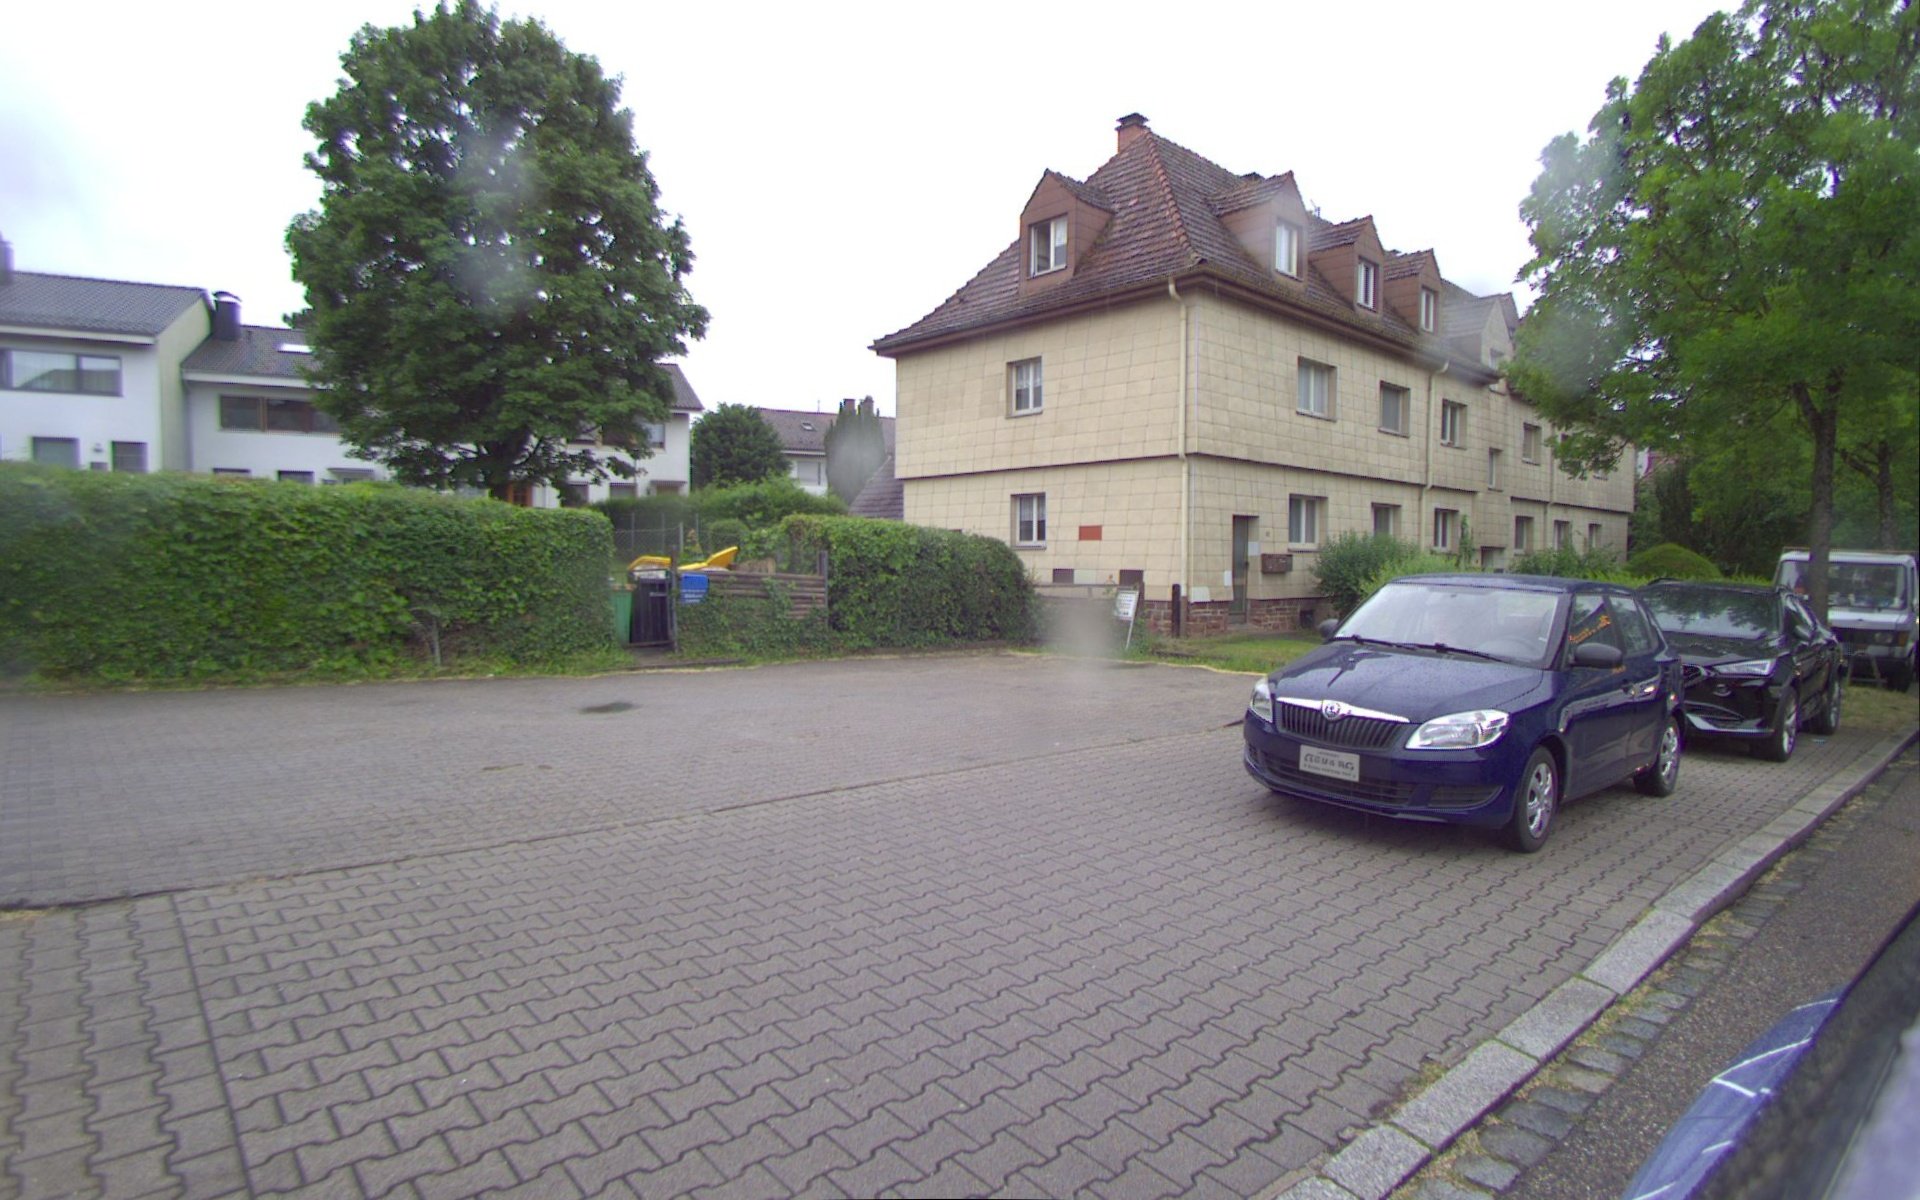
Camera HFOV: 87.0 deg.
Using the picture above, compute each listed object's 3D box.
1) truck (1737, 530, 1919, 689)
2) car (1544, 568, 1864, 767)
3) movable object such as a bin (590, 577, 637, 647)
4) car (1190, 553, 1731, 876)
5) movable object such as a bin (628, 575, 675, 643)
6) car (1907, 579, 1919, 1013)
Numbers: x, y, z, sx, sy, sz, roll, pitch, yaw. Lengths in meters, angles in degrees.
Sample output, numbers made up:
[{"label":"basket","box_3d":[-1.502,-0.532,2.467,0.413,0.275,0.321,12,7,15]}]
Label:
[{"label":"truck","box_3d":[14.900,0.103,16.760,5.653,2.224,1.998,0,2,-40]},{"label":"car","box_3d":[7.346,0.487,9.851,3.932,1.481,1.719,-1,4,-42]},{"label":"movable object such as a bin","box_3d":[-4.838,0.159,14.124,0.441,0.954,0.539,0,0,-45]},{"label":"car","box_3d":[3.424,0.478,6.596,3.930,1.441,1.719,-1,4,-41]},{"label":"movable object such as a bin","box_3d":[-4.411,0.126,14.480,0.441,0.954,0.539,0,0,-45]},{"label":"car","box_3d":[5.621,0.686,4.303,4.240,1.548,1.881,0,-1,-41]}]
